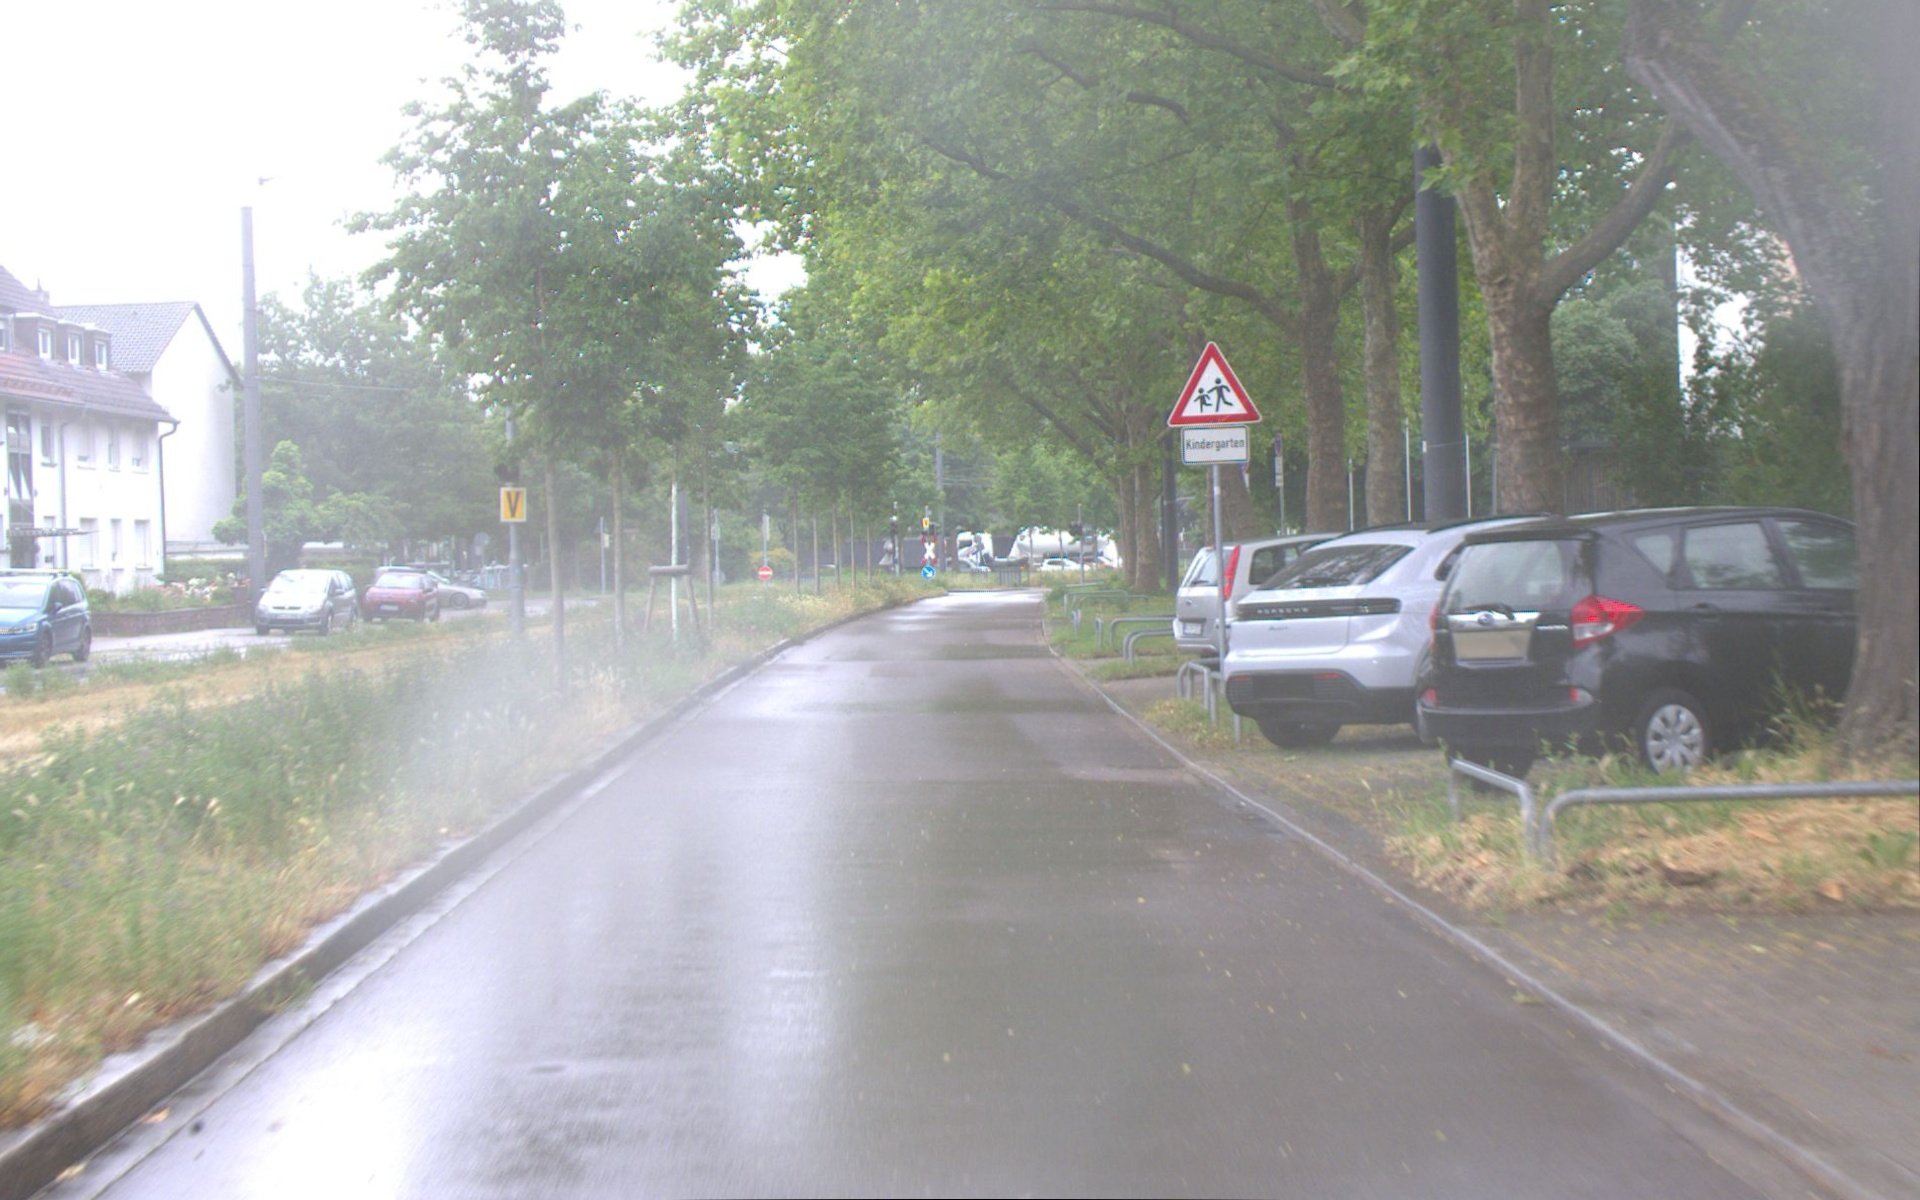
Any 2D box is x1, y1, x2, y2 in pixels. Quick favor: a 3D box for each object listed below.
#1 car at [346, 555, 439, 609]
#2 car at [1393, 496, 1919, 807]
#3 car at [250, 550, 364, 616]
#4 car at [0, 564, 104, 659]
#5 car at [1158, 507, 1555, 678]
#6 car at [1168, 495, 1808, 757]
[{"bbox_3d":[-16.532,-0.538,100.268,1.993,1.483,4.206,0,2,0],"label":"car"},{"bbox_3d":[4.507,0.236,20.059,3.703,1.561,1.619,-4,2,-33],"label":"car"},{"bbox_3d":[-16.402,-0.451,86.550,1.993,1.575,4.517,0,2,0],"label":"car"},{"bbox_3d":[-17.182,0.176,62.712,1.993,1.608,4.413,0,2,0],"label":"car"},{"bbox_3d":[4.269,-0.097,37.121,3.854,1.561,1.620,-4,2,-14],"label":"car"},{"bbox_3d":[4.078,0.148,26.163,4.761,1.662,1.994,-4,2,-37],"label":"car"}]
